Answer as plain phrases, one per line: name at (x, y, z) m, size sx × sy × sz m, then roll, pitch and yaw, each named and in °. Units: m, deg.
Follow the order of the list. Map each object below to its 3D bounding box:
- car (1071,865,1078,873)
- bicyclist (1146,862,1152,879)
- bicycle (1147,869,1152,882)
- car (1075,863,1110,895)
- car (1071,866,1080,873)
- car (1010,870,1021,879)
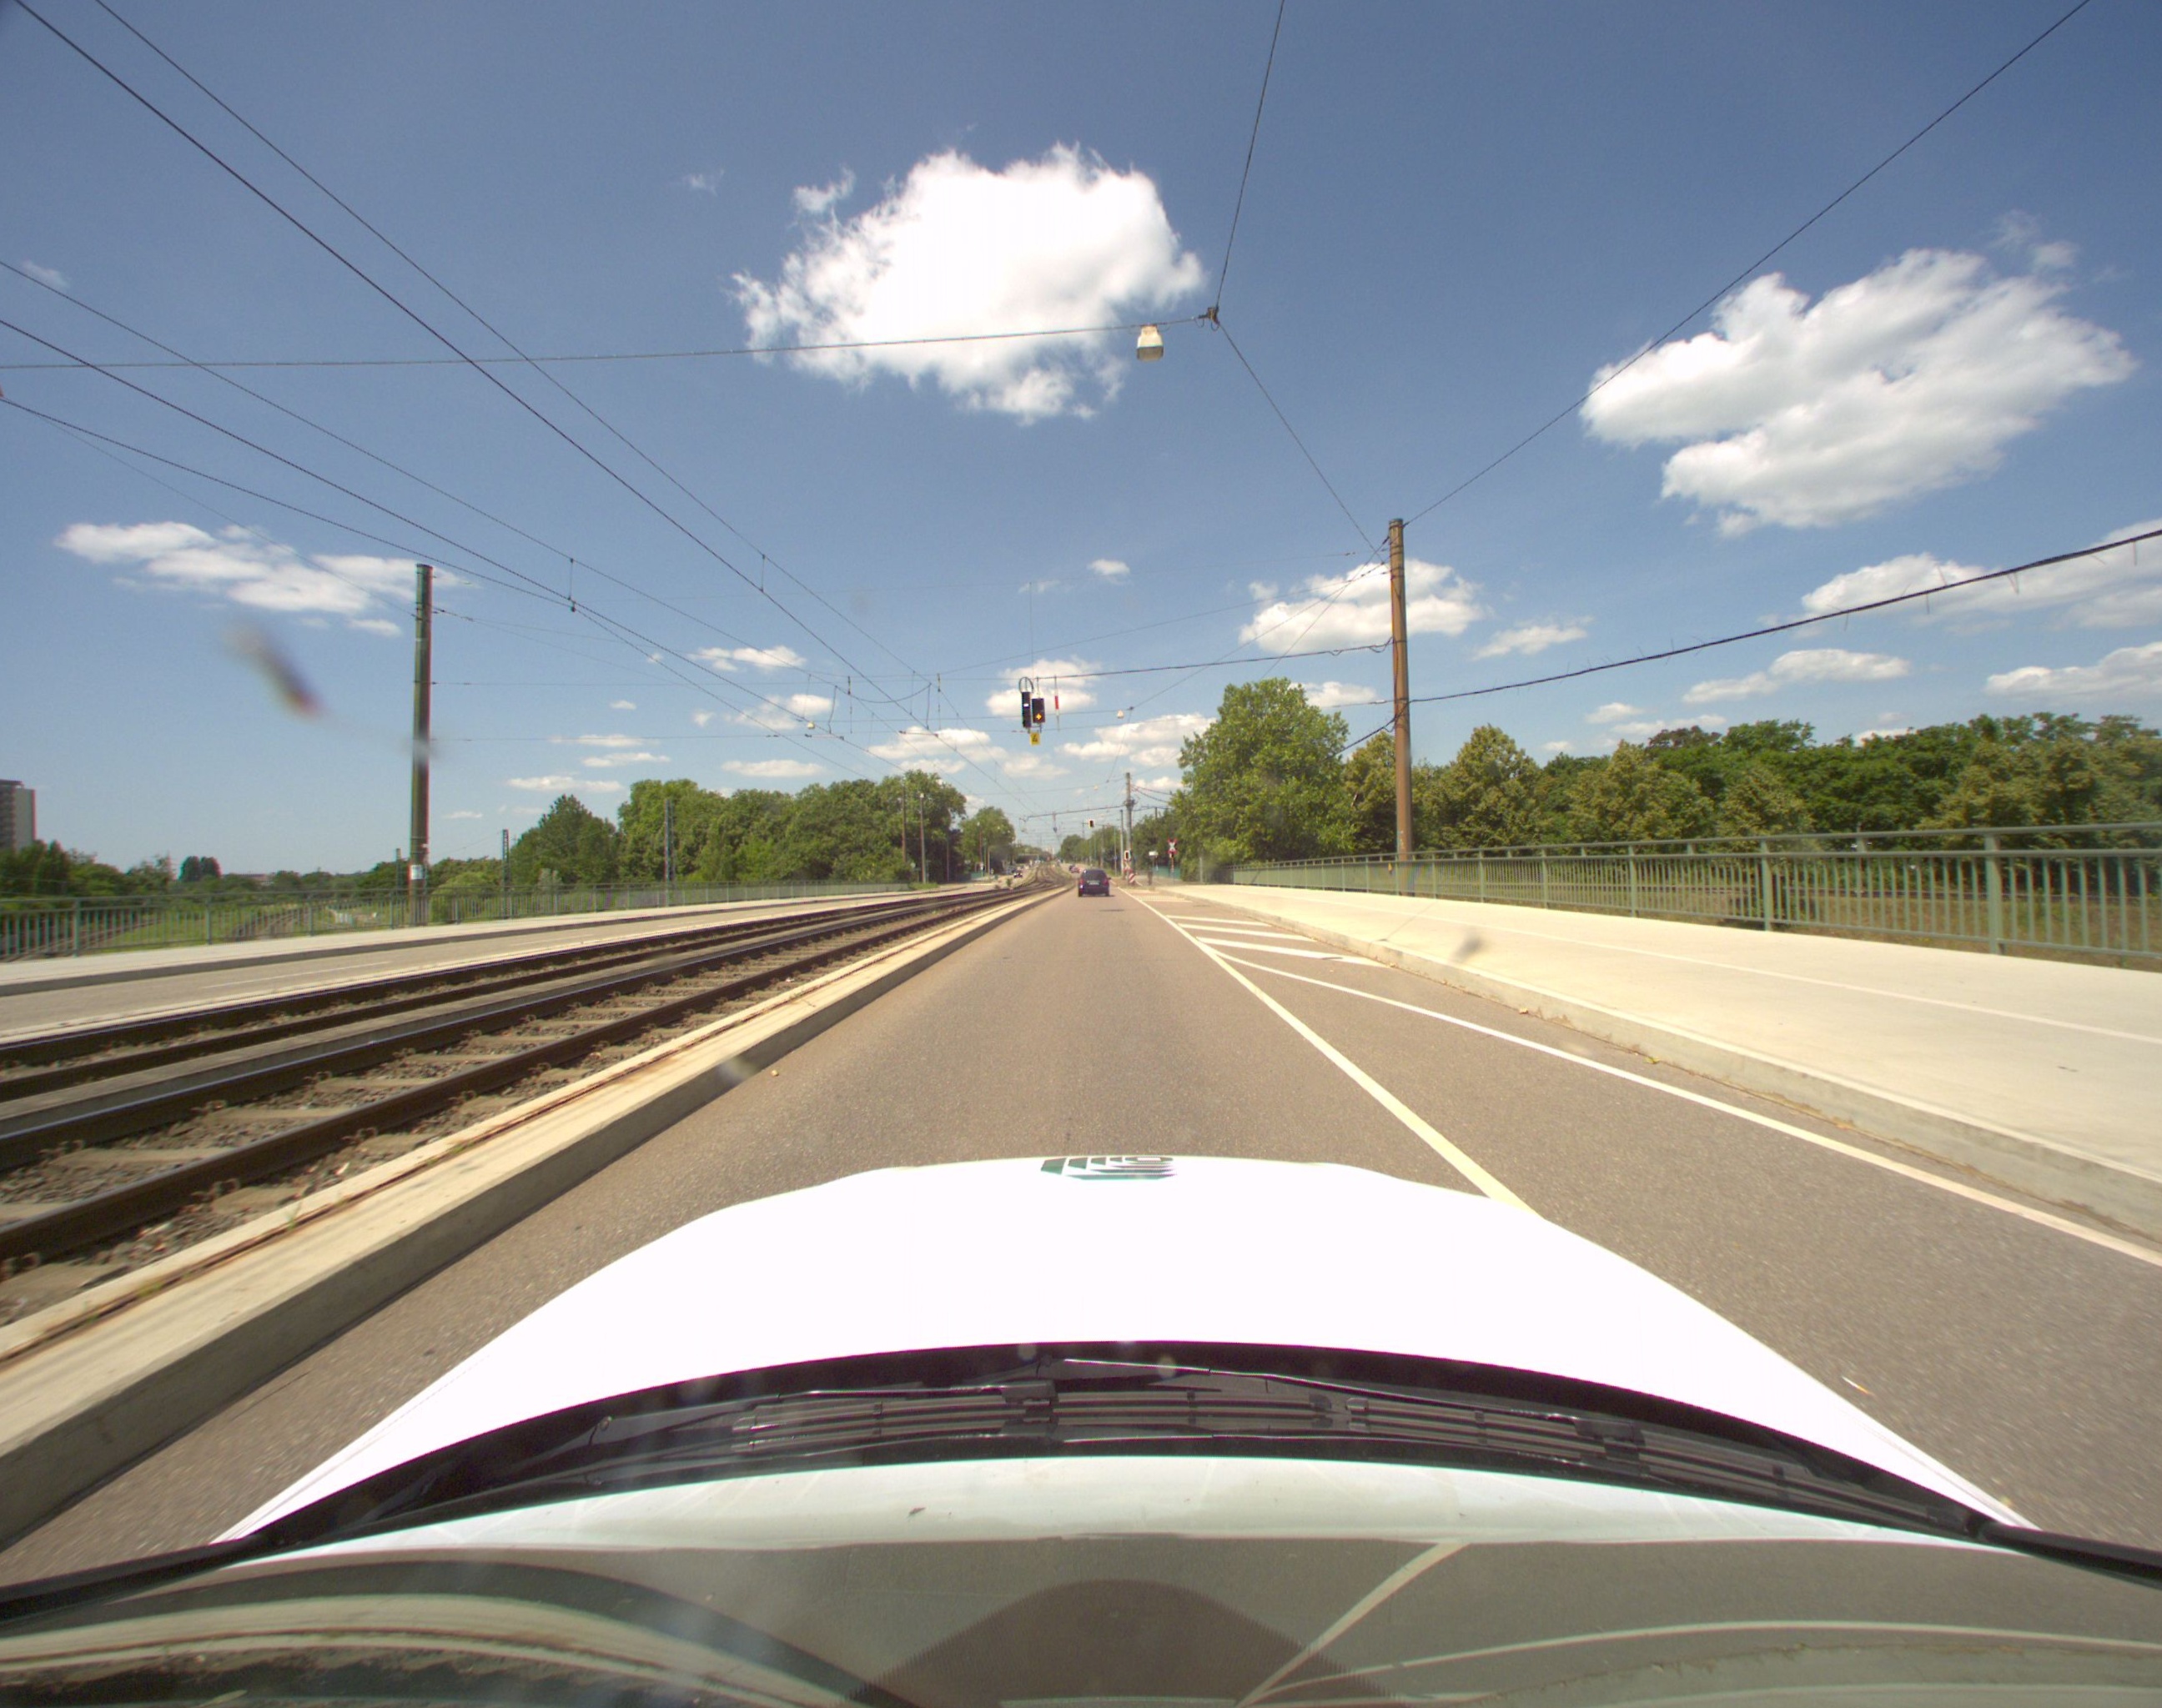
car at (-1.850, 4.166, 225.807) m, size 1.987 × 2.013 × 4.001 m, roll 0°, pitch 1°, yaw 1°
bicyclist at (6.310, 1.519, 75.464) m, size 0.583 × 1.495 × 0.558 m, roll 0°, pitch 0°, yaw 2°
bicycle at (6.328, 2.012, 75.511) m, size 0.430 × 1.152 × 1.856 m, roll 0°, pitch 1°, yaw 3°
car at (0.667, 1.414, 46.605) m, size 1.846 × 1.570 × 4.389 m, roll -1°, pitch 1°, yaw 1°
car at (-1.251, 3.661, 193.048) m, size 1.878 × 1.640 × 4.002 m, roll 2°, pitch 0°, yaw 2°
car at (-12.365, 3.863, 154.339) m, size 1.698 × 1.510 × 3.735 m, roll -3°, pitch 0°, yaw 2°
